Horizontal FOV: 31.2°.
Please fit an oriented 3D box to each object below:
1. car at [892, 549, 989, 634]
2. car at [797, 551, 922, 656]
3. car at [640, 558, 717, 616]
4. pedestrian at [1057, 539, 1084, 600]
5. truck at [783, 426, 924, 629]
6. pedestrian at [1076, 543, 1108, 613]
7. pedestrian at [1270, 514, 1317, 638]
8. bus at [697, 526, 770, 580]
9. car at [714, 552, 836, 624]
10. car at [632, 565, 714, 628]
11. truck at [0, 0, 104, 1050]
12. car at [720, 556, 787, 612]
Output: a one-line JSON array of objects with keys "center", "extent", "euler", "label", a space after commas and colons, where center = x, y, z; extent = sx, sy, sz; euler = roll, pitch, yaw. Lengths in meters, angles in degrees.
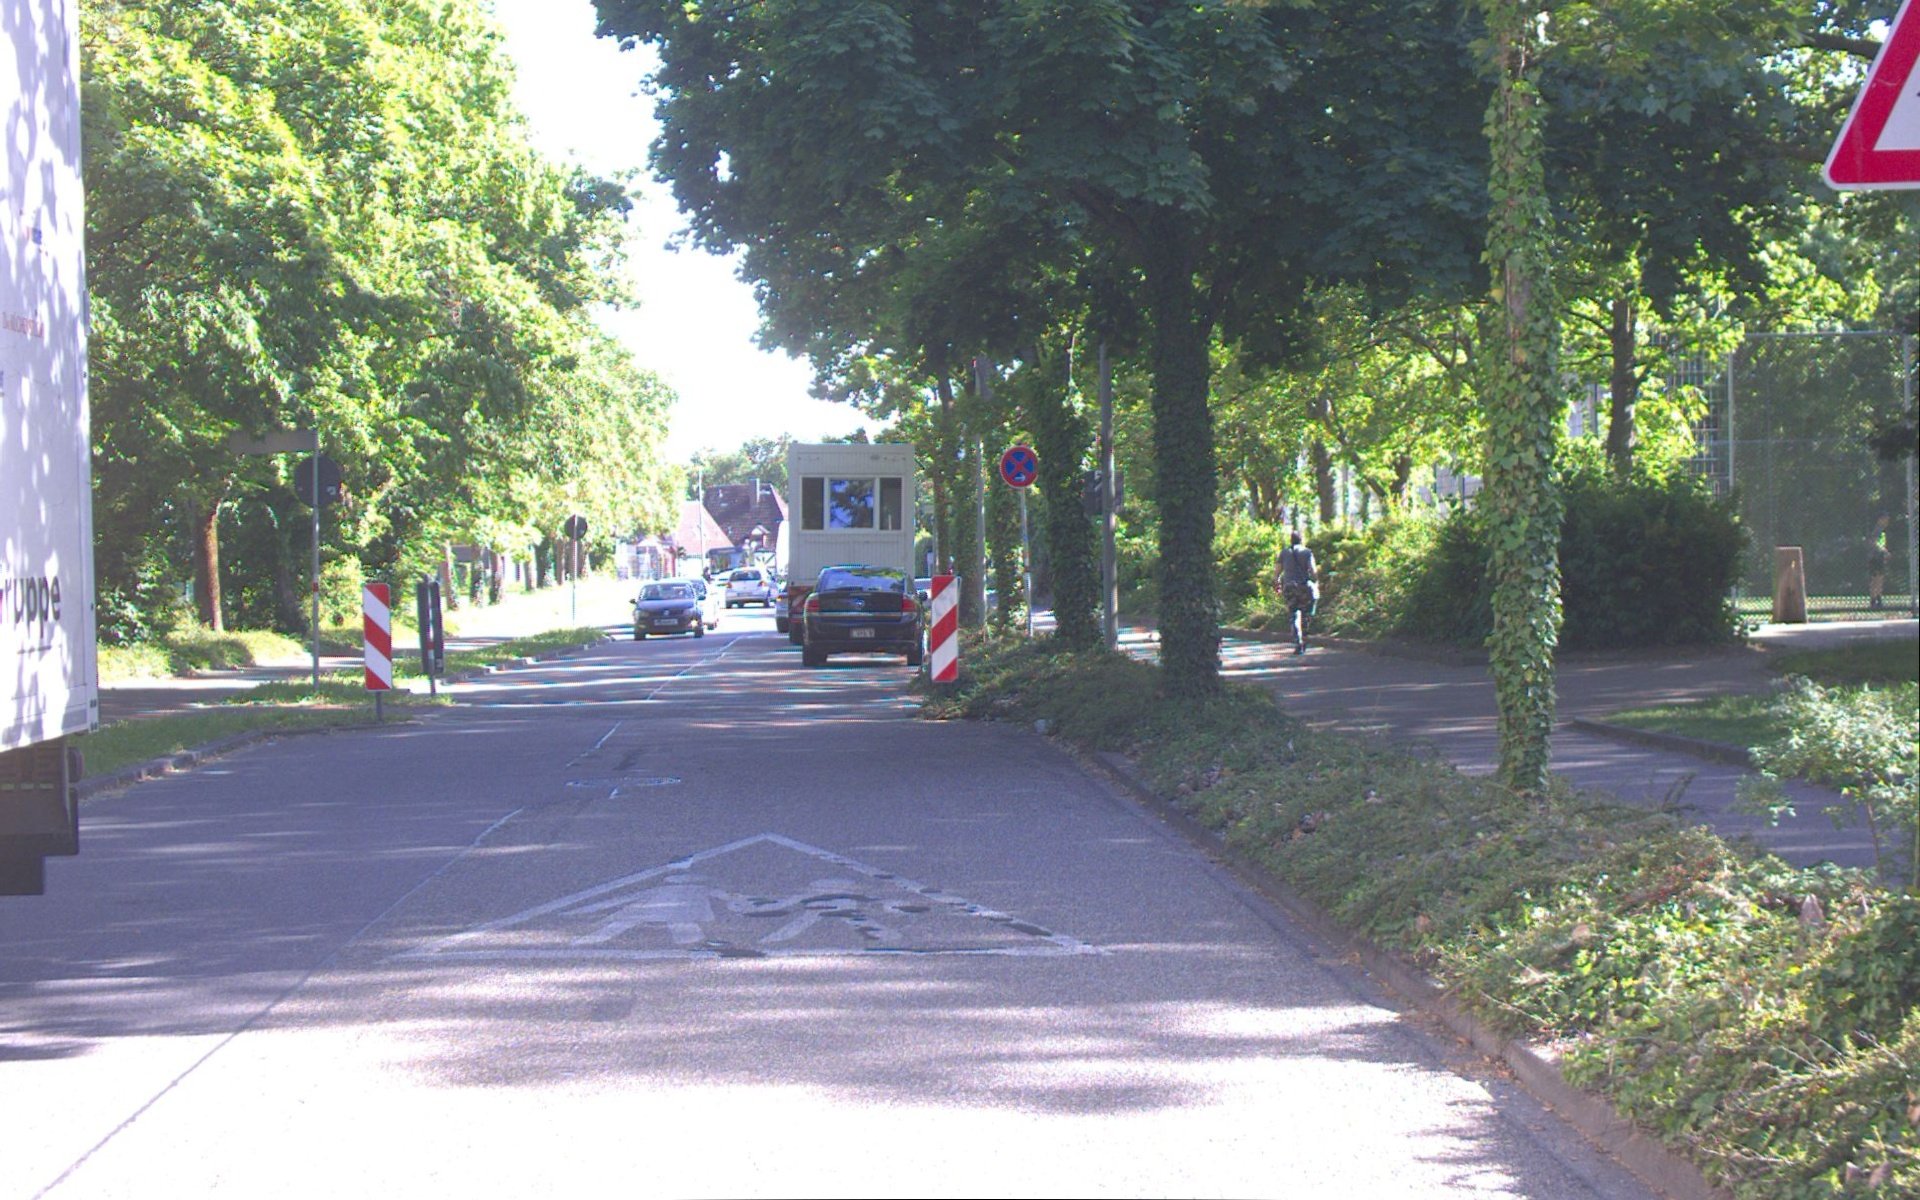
[{"center": [-0.350, -0.172, 62.450], "extent": [1.640, 1.415, 4.000], "euler": [-3, 1, 0], "label": "car"}, {"center": [-1.442, 0.043, 50.750], "extent": [1.748, 1.475, 4.030], "euler": [0, 0, 0], "label": "car"}, {"center": [-7.658, -0.368, 93.683], "extent": [1.755, 1.449, 4.243], "euler": [-3, 1, -1], "label": "car"}, {"center": [2.938, -0.807, 91.499], "extent": [0.598, 1.605, 0.600], "euler": [-3, 1, -5], "label": "pedestrian"}, {"center": [-2.351, -1.486, 72.792], "extent": [2.772, 3.982, 10.349], "euler": [0, 1, -3], "label": "truck"}, {"center": [3.498, -0.586, 91.381], "extent": [0.698, 1.806, 0.700], "euler": [-3, 1, -5], "label": "pedestrian"}, {"center": [4.375, -0.315, 45.022], "extent": [0.571, 1.602, 0.671], "euler": [-1, 1, 7], "label": "pedestrian"}, {"center": [-14.930, -3.136, 227.558], "extent": [4.065, 3.337, 9.801], "euler": [-2, 1, 0], "label": "bus"}, {"center": [-4.453, -0.305, 83.323], "extent": [1.994, 1.678, 3.998], "euler": [-1, 1, 11], "label": "car"}, {"center": [-7.058, -0.095, 84.807], "extent": [1.601, 1.421, 3.652], "euler": [-3, 1, 1], "label": "car"}, {"center": [-4.339, -0.323, 8.539], "extent": [2.734, 3.629, 8.102], "euler": [-1, 1, -3], "label": "truck"}, {"center": [-7.807, -0.606, 130.175], "extent": [1.994, 2.007, 4.000], "euler": [-2, 1, 4], "label": "car"}]
